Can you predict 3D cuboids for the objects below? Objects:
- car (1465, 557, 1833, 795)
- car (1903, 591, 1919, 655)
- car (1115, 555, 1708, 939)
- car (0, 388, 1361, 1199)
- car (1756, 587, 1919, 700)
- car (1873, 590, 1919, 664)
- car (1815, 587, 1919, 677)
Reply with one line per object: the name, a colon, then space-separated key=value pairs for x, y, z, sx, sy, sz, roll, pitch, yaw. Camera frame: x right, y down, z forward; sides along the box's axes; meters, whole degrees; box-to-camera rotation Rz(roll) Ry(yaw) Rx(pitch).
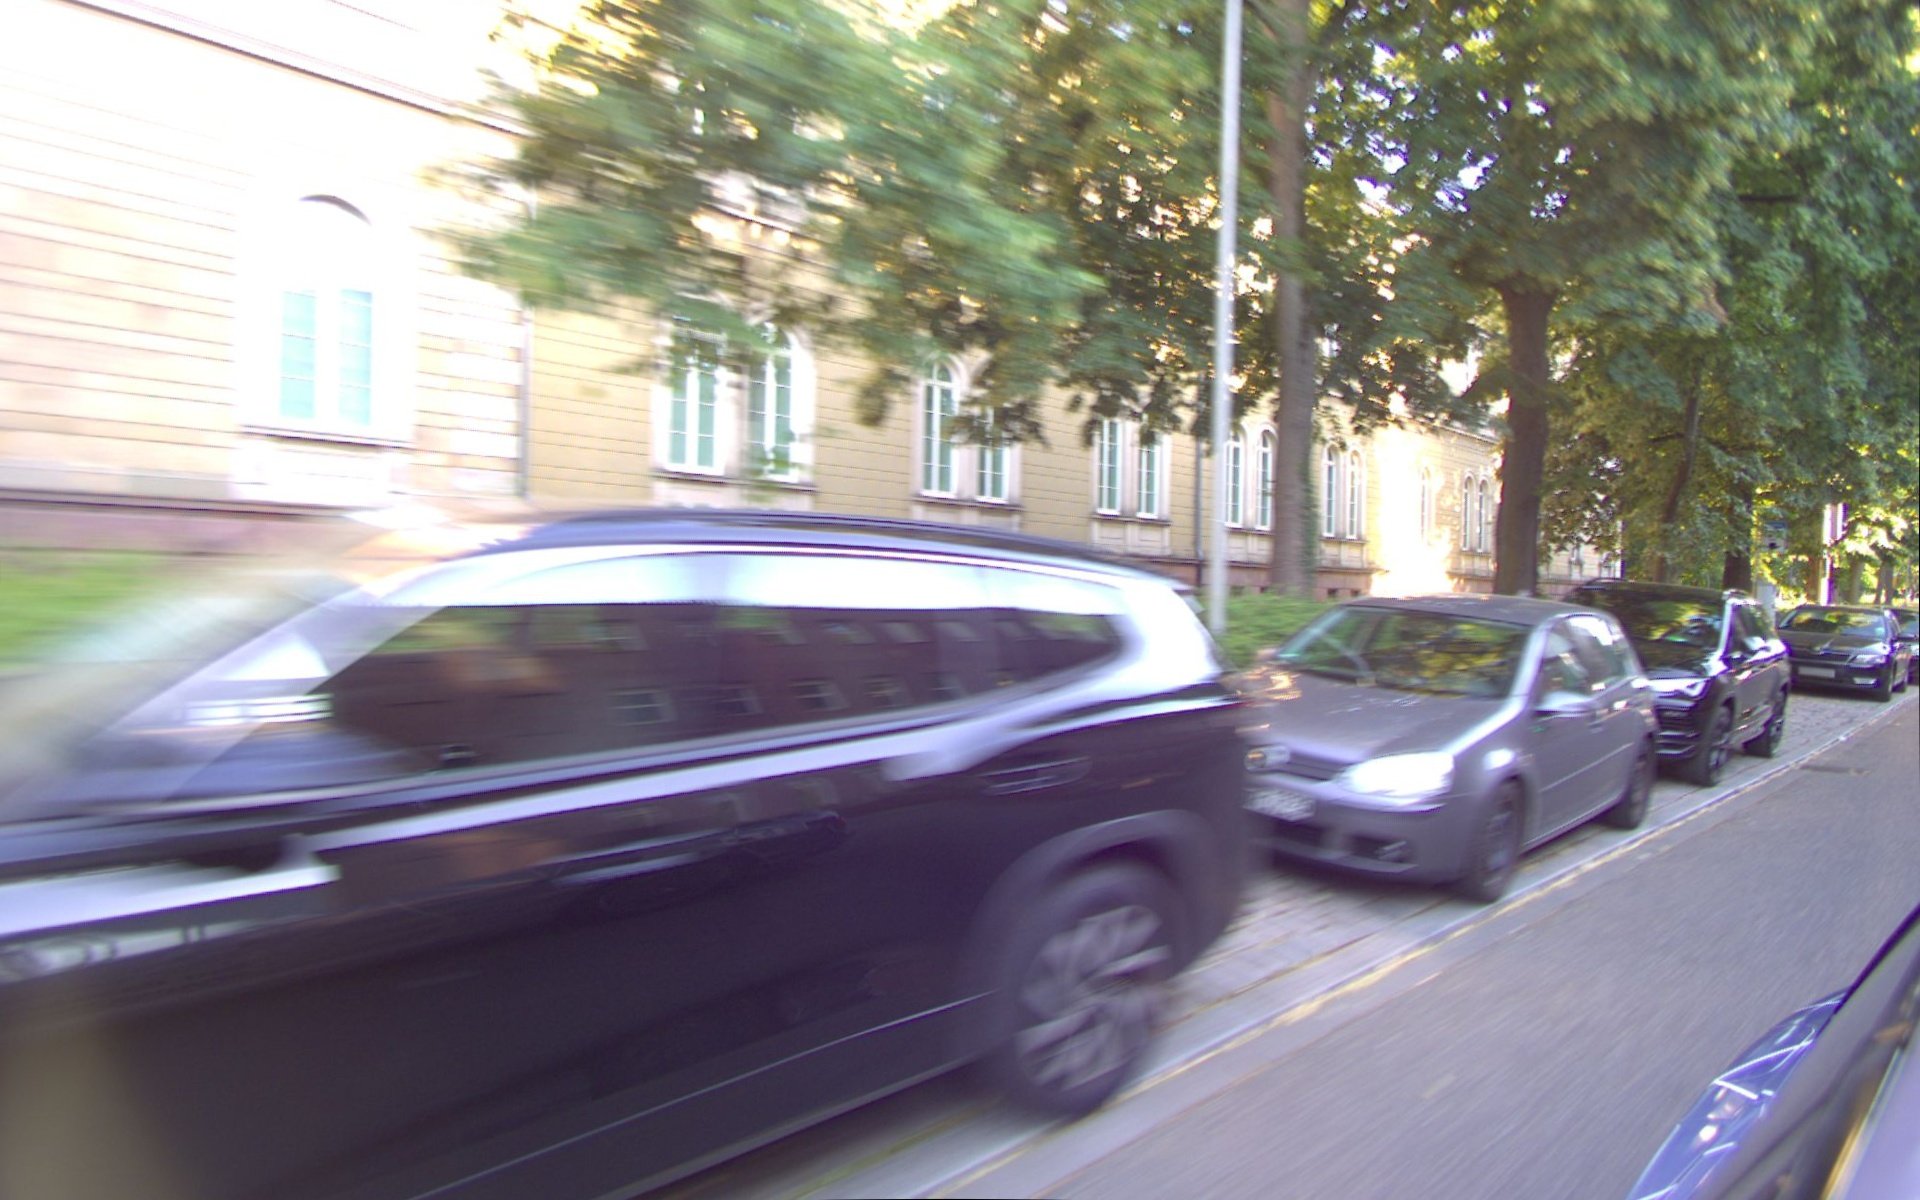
car: x=6.739 y=0.566 z=9.706 sx=4.342 sy=1.671 sz=1.811 roll=1 pitch=5 yaw=-42
car: x=28.040 y=0.635 z=28.532 sx=4.422 sy=1.703 sz=1.727 roll=-1 pitch=2 yaw=-42
car: x=2.946 y=0.578 z=6.131 sx=4.117 sy=1.557 sz=1.727 roll=0 pitch=1 yaw=-42
car: x=-1.004 y=0.518 z=2.646 sx=4.627 sy=1.672 sz=1.728 roll=-1 pitch=2 yaw=-38
car: x=15.146 y=0.617 z=17.165 sx=4.444 sy=1.524 sz=1.739 roll=-1 pitch=6 yaw=-42
car: x=22.994 y=0.627 z=23.750 sx=4.544 sy=1.551 sz=1.728 roll=-1 pitch=6 yaw=-42
car: x=19.081 y=0.581 z=20.588 sx=4.114 sy=1.551 sz=1.729 roll=-1 pitch=6 yaw=-39
